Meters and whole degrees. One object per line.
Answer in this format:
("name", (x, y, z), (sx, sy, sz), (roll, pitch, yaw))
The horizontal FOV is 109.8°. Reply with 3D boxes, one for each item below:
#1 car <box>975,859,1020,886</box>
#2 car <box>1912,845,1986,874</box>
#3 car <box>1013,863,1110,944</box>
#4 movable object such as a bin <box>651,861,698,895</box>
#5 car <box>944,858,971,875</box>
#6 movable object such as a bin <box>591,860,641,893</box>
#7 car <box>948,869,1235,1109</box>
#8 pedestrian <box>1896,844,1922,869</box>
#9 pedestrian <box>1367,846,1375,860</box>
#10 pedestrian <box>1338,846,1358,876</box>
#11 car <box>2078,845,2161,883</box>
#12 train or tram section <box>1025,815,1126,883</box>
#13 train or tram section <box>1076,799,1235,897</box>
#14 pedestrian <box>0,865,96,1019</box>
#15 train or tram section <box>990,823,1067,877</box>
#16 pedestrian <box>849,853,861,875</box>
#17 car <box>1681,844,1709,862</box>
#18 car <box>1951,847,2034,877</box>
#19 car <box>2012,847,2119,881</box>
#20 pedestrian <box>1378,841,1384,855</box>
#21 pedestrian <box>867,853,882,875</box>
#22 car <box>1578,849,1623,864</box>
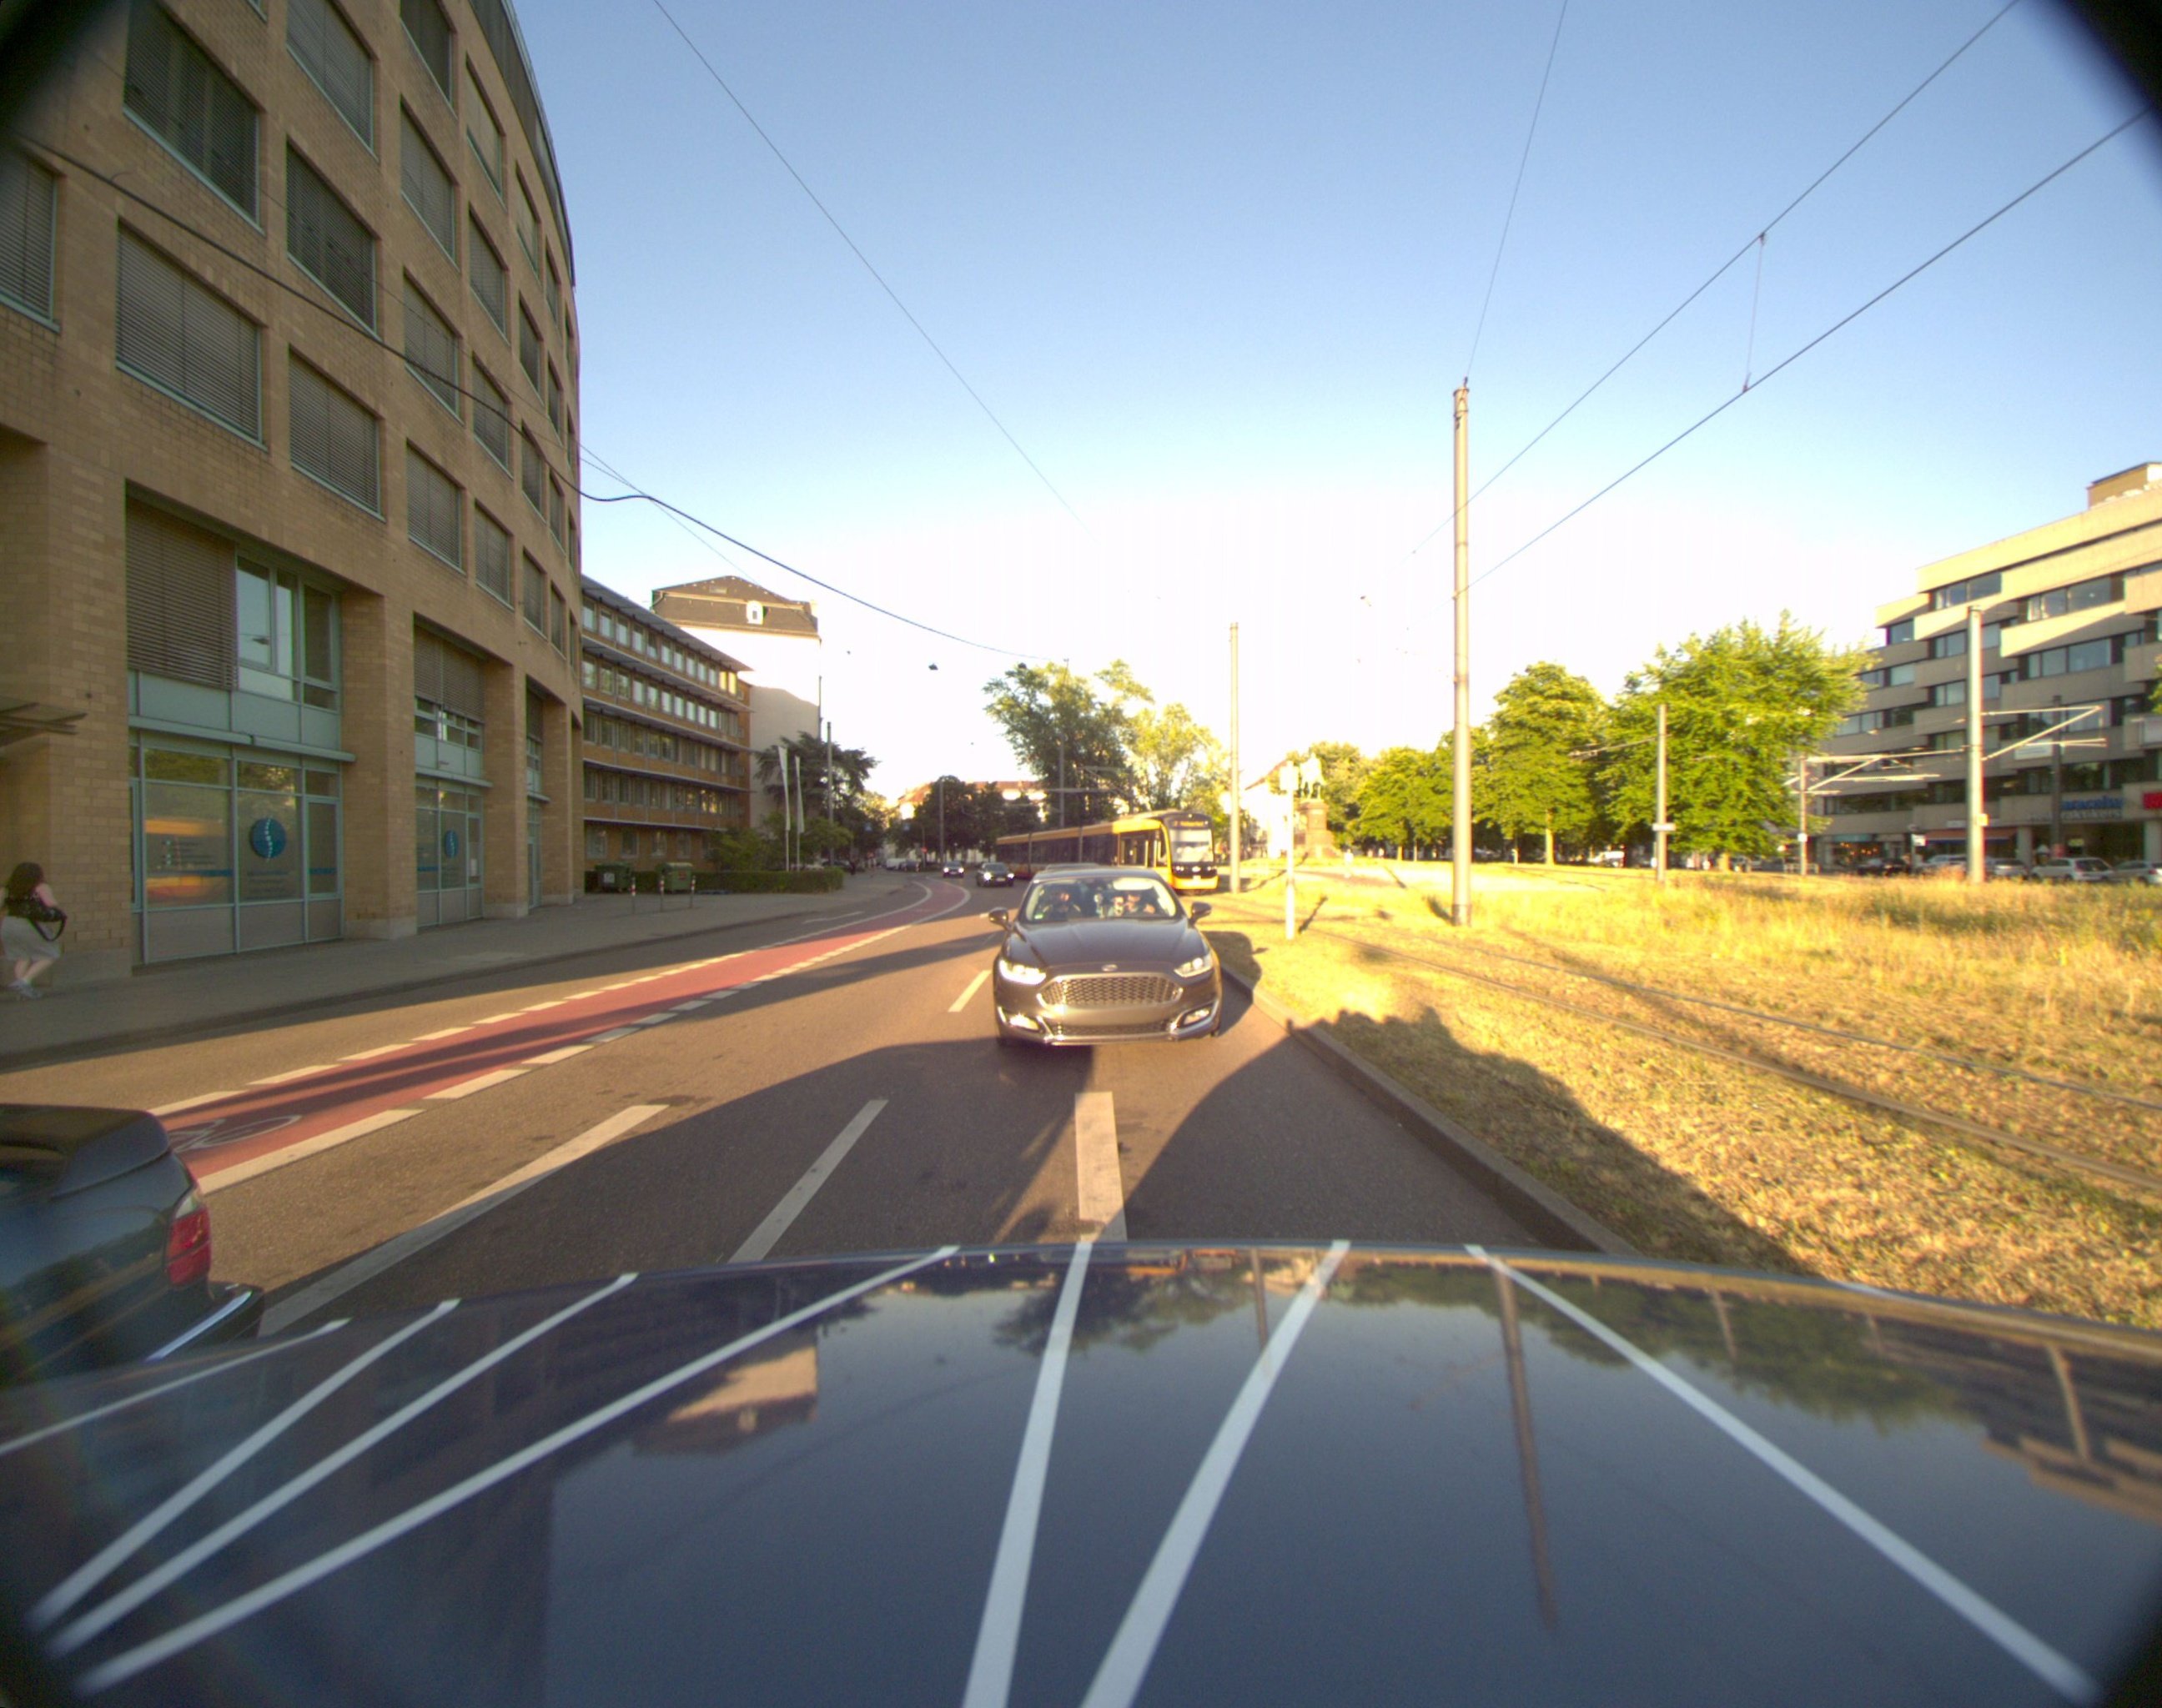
("car", (-5.037, 1.072, 45.249), (2.001, 1.453, 4.137), (-1, 0, -16))
("car", (61.326, 0.380, 53.770), (1.995, 1.925, 4.007), (-1, 0, 24))
("car", (-0.333, 1.000, 17.348), (1.897, 1.526, 4.705), (-1, 0, 1))
("movable object such as a bin", (-18.279, 1.058, 34.232), (1.427, 1.450, 1.332), (-1, 0, -3))
("car", (-11.075, 1.097, 68.255), (1.759, 1.379, 3.999), (-3, 0, -1))
("movable object such as a bin", (-21.229, 1.030, 34.739), (1.427, 1.450, 1.332), (-1, 0, -2))
("car", (0.111, 0.944, 7.386), (1.890, 1.477, 4.725), (0, 0, 1))
("pedestrian", (66.179, 0.200, 60.744), (1.138, 2.023, 0.892), (-1, 1, 3))
("pedestrian", (34.843, -0.096, 91.300), (0.711, 1.660, 0.635), (-1, 1, 1))
("pedestrian", (15.329, 0.395, 43.634), (0.891, 1.718, 0.797), (-1, 1, 1))
("car", (54.111, 0.493, 38.932), (1.921, 1.853, 4.006), (-1, 0, 23))
("train or tram section", (-0.717, -0.296, 48.079), (2.889, 3.717, 12.164), (-1, 0, -18))
("train or tram section", (2.863, -0.253, 35.570), (2.920, 3.717, 13.200), (-1, 0, -15))
("pedestrian", (-11.977, 0.969, 8.621), (0.628, 1.672, 0.713), (-1, 1, -3))
("train or tram section", (-4.356, -0.292, 59.254), (2.917, 3.717, 12.171), (-1, 0, -19))
("pedestrian", (-19.164, 0.846, 64.394), (0.728, 1.797, 0.724), (-1, 1, 1))
("car", (72.091, -0.153, 89.274), (1.995, 2.002, 4.007), (-2, 1, 32))
("car", (58.823, 0.477, 49.139), (1.995, 1.868, 4.007), (0, 0, 27))
("car", (56.299, 0.557, 43.562), (1.995, 1.868, 4.006), (-1, 0, 22))
("pedestrian", (35.903, -0.717, 90.892), (0.535, 1.684, 0.512), (-1, 1, 1))
("pedestrian", (-17.786, 0.829, 65.430), (0.913, 1.883, 1.123), (-1, 1, -32))
("car", (62.652, 0.264, 91.686), (3.992, 1.745, 1.970), (-1, 0, 16))
